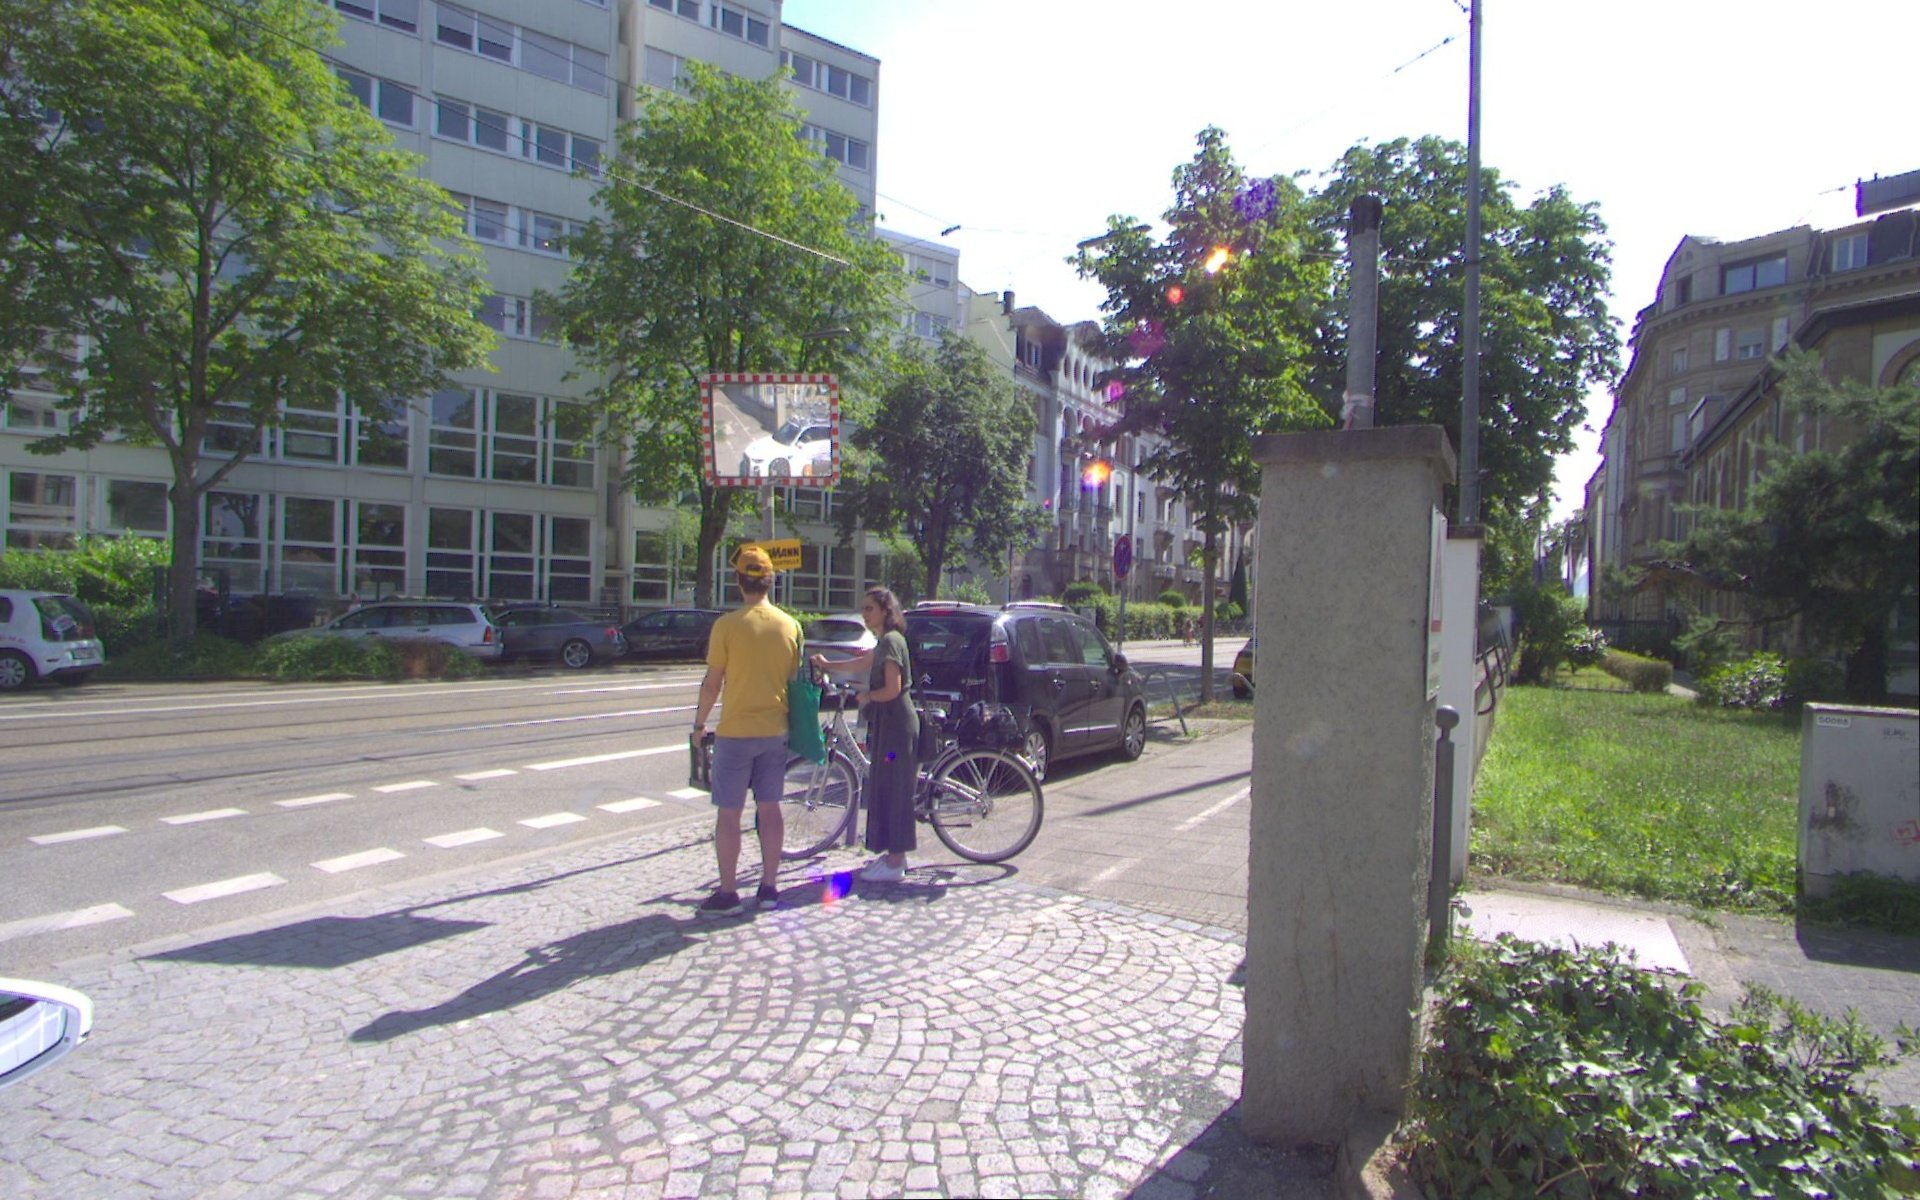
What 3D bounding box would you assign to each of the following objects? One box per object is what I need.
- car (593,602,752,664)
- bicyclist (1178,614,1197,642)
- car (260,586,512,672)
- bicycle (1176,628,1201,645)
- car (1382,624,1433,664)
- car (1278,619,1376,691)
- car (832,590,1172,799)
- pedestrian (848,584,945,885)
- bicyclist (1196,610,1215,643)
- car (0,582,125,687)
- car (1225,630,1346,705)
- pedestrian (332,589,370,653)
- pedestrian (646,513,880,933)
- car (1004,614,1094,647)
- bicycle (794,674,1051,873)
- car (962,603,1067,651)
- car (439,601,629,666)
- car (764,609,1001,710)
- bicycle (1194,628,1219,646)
[{"bbox_3d":[-7.534,0.860,26.449,3.875,1.505,1.556,2,0,-16],"label":"car"},{"bbox_3d":[12.957,1.606,57.049,0.793,1.563,0.860,2,0,33],"label":"bicyclist"},{"bbox_3d":[-11.710,0.626,20.744,4.270,1.625,1.555,2,-1,-19],"label":"car"},{"bbox_3d":[13.082,2.092,57.249,0.670,0.929,2.309,2,0,32],"label":"bicycle"},{"bbox_3d":[20.869,2.012,46.619,1.828,1.702,3.984,1,-1,28],"label":"car"},{"bbox_3d":[9.741,1.384,26.416,1.828,1.702,3.984,1,-1,28],"label":"car"},{"bbox_3d":[0.641,0.826,10.428,1.829,1.706,3.981,1,-1,31],"label":"car"},{"bbox_3d":[-0.357,0.746,5.732,0.445,1.642,0.422,-1,-1,12],"label":"pedestrian"},{"bbox_3d":[13.789,1.506,56.217,0.793,1.825,0.860,2,0,33],"label":"bicyclist"},{"bbox_3d":[-15.135,0.483,14.852,3.874,1.505,1.610,1,0,-15],"label":"car"},{"bbox_3d":[7.240,1.400,22.019,1.828,1.430,3.984,1,-1,28],"label":"car"},{"bbox_3d":[-14.418,0.502,23.706,0.417,1.480,0.620,2,0,27],"label":"pedestrian"},{"bbox_3d":[-1.006,0.565,5.092,0.844,1.889,0.823,2,0,-39],"label":"pedestrian"},{"bbox_3d":[4.355,1.487,49.198,3.929,1.528,1.997,2,-1,-16],"label":"car"},{"bbox_3d":[-0.226,1.017,6.057,1.484,1.055,0.363,2,0,12],"label":"bicycle"},{"bbox_3d":[2.313,1.141,42.540,3.935,1.884,1.993,2,0,-23],"label":"car"},{"bbox_3d":[-9.871,0.781,23.490,3.875,1.375,1.556,2,0,-16],"label":"car"},{"bbox_3d":[-1.161,0.946,17.387,1.863,1.426,4.575,3,0,29],"label":"car"},{"bbox_3d":[13.833,2.068,56.203,0.670,0.929,2.309,2,0,32],"label":"bicycle"}]
